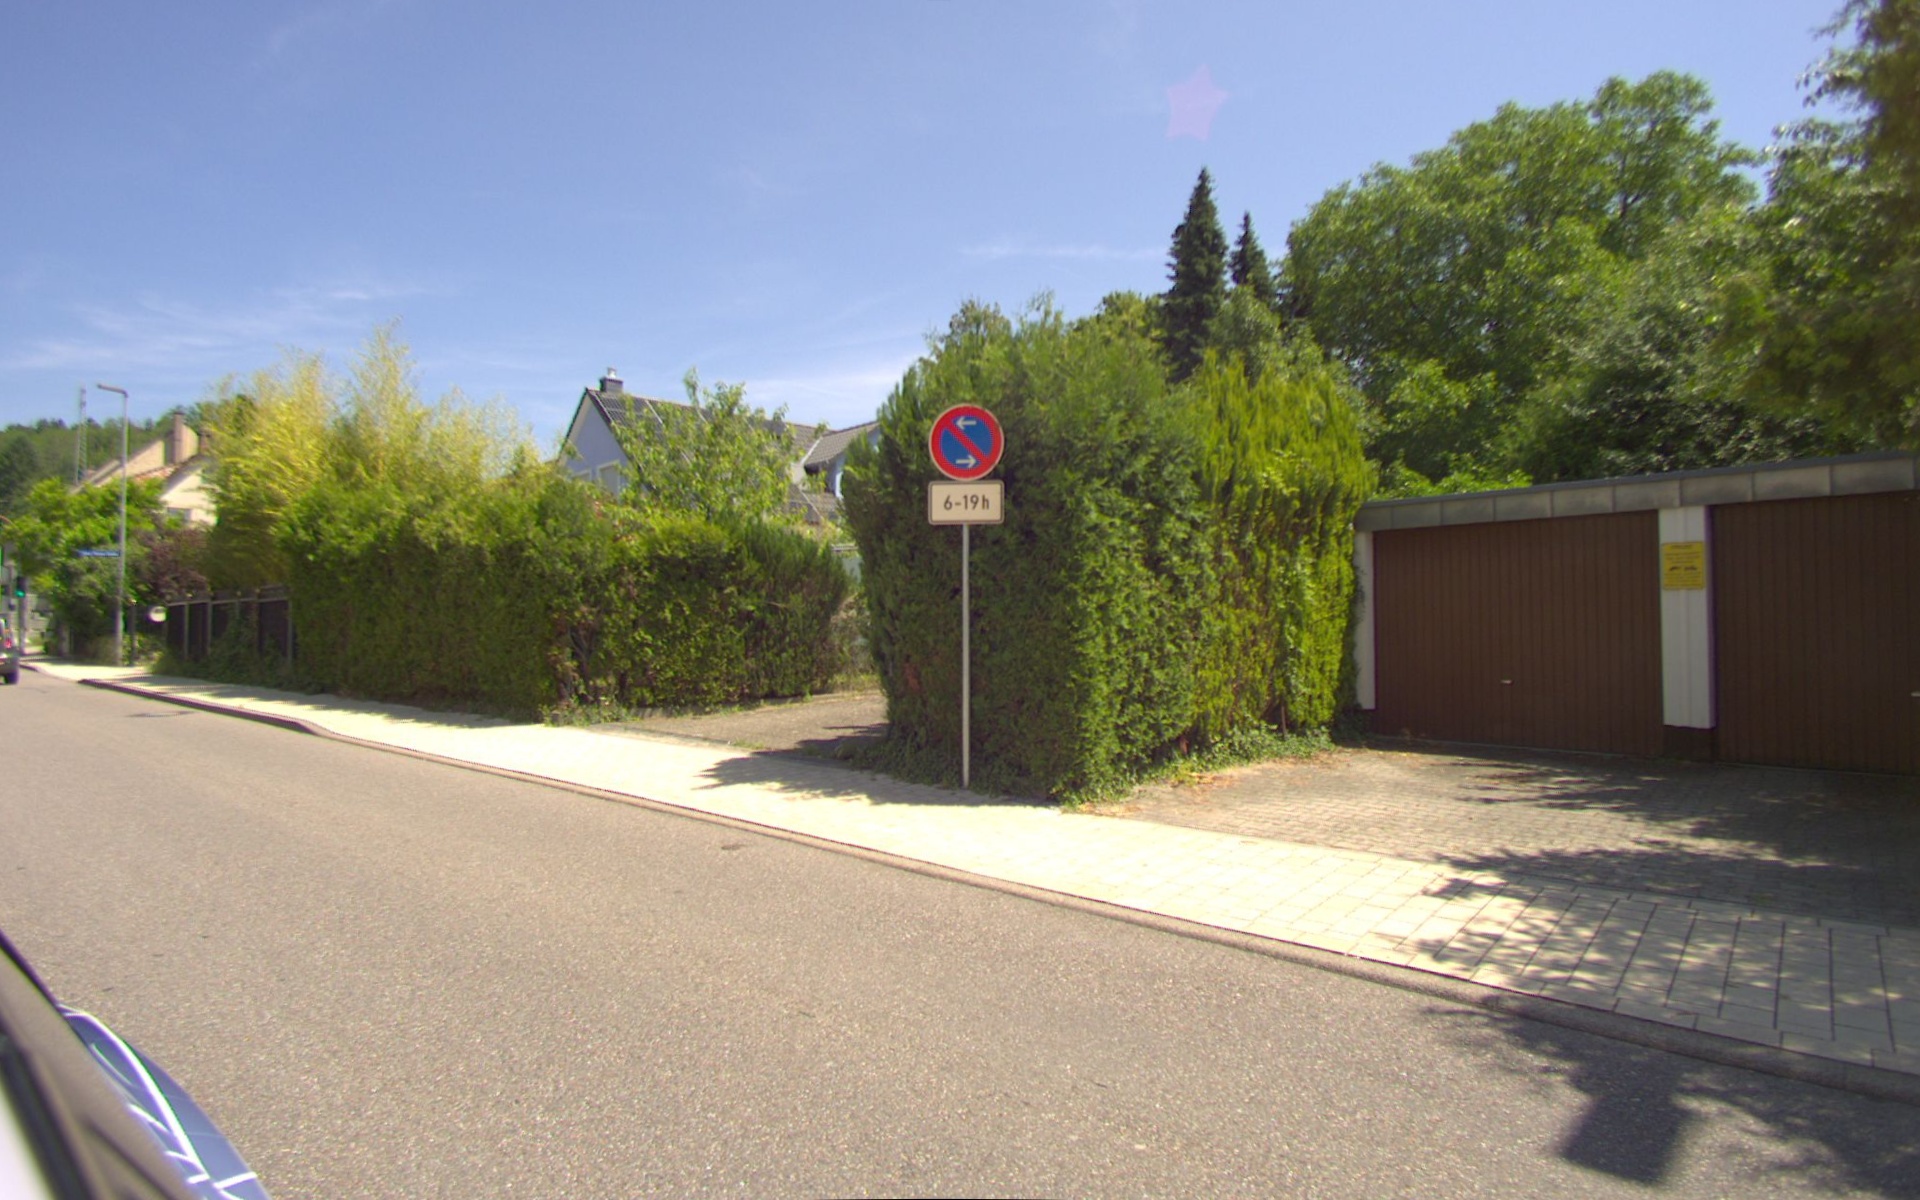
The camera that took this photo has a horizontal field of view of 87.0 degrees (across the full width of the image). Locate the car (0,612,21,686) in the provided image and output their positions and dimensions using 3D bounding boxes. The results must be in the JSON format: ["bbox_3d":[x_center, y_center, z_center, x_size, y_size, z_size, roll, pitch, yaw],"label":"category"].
[{"bbox_3d":[-23.664,1.162,23.825,3.946,1.665,1.848,-2,-1,41],"label":"car"}]

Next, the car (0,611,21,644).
[{"bbox_3d":[-55.166,1.573,56.667,1.847,1.804,3.561,0,0,40],"label":"car"}]
